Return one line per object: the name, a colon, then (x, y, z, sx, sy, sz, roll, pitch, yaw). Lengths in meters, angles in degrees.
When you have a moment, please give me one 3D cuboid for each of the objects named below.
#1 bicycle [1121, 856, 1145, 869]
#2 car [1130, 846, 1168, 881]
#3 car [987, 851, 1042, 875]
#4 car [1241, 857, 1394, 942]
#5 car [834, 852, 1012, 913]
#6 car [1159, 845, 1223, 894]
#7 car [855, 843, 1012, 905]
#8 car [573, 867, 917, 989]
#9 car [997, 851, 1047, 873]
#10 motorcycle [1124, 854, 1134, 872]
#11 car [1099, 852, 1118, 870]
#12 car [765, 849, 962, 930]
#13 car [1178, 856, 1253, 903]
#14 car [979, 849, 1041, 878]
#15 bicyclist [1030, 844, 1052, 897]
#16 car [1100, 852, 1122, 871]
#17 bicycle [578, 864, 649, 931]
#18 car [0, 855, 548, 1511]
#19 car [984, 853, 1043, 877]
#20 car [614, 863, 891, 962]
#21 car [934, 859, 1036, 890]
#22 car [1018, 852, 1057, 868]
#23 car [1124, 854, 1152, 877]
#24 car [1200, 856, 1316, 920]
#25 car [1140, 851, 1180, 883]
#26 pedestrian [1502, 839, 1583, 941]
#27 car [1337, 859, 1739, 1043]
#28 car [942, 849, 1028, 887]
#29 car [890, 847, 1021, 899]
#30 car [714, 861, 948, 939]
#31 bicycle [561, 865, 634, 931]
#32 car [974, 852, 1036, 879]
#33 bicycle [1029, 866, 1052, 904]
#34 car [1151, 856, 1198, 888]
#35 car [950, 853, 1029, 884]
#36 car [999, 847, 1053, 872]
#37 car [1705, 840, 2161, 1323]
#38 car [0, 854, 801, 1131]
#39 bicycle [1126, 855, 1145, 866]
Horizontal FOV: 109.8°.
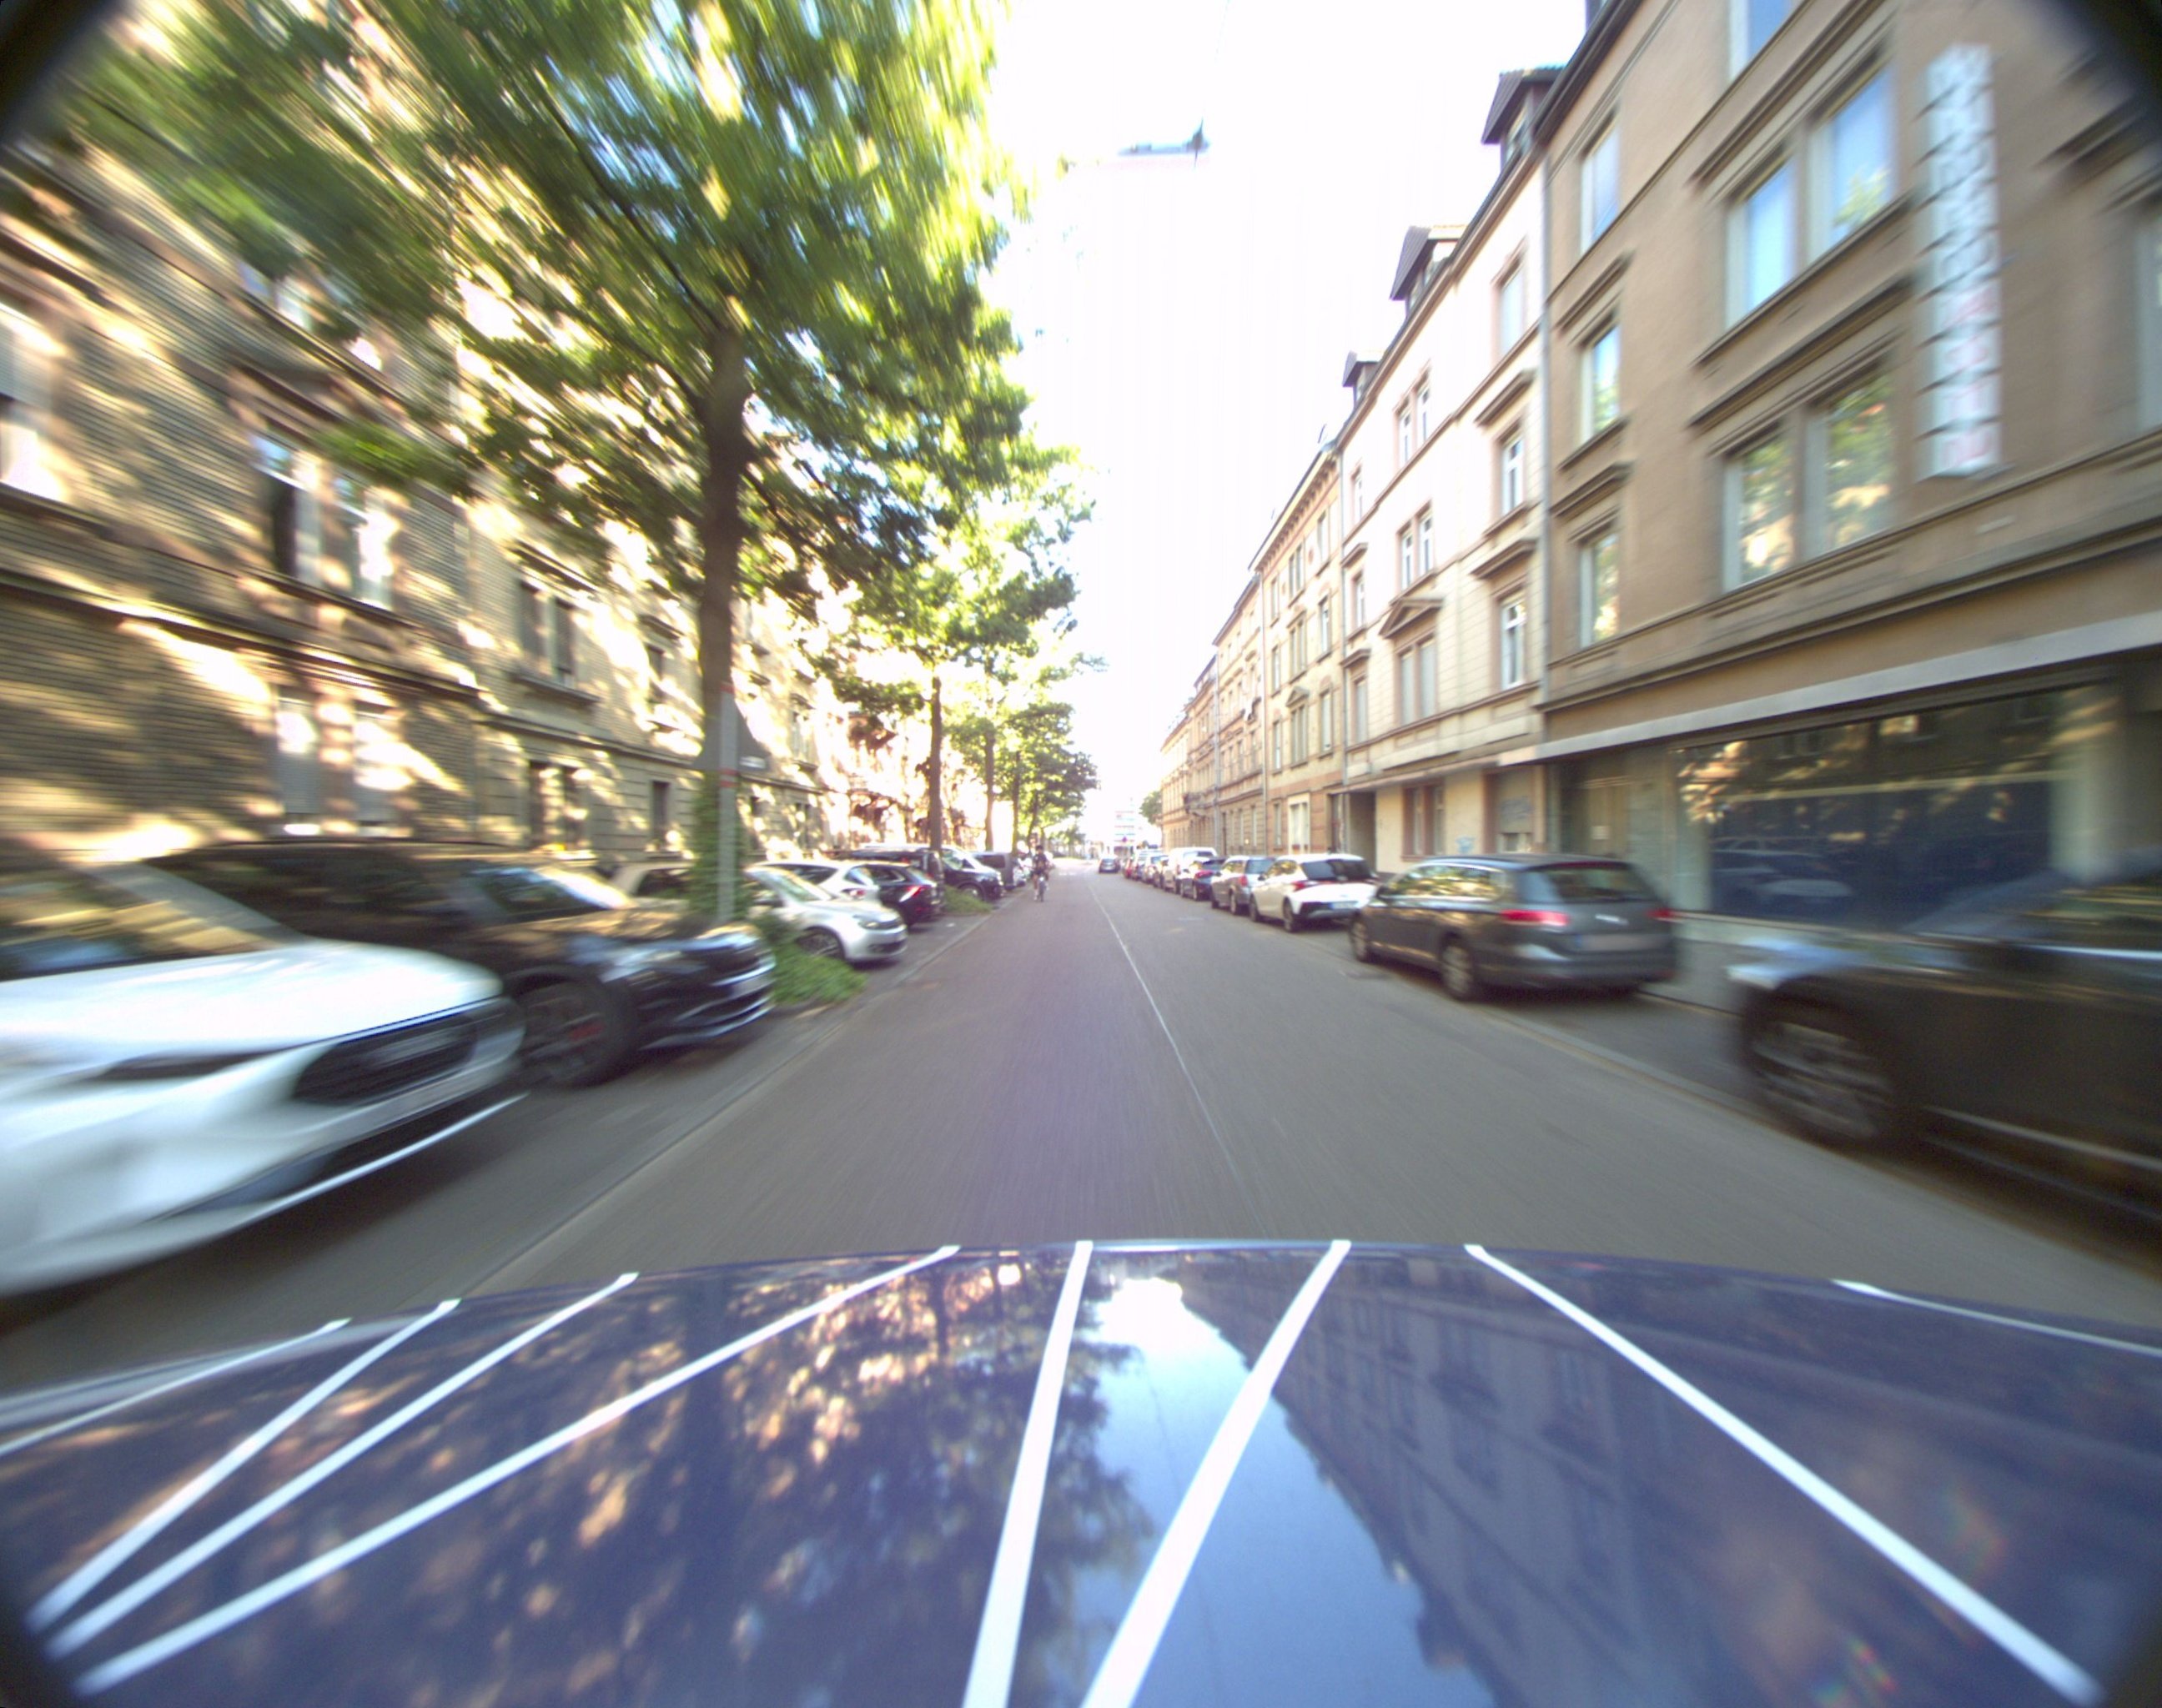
bicycle: (4.665, 0.787, 68.043, 2.043, 1.092, 0.587, -2, 1, 2)
car: (4.313, 0.558, 48.754, 1.947, 2.045, 4.744, -2, 0, 0)
car: (-5.262, 0.689, 60.482, 4.057, 1.612, 1.781, 4, 1, 1)
car: (4.643, 0.812, 15.572, 1.761, 1.464, 4.087, -1, 0, -1)
car: (-4.602, 0.812, 22.757, 4.934, 1.623, 2.077, 2, 0, -4)
car: (4.465, 0.598, 31.459, 1.847, 1.822, 4.606, -2, 0, -1)
car: (-4.872, 0.657, 25.771, 4.934, 1.890, 2.175, 2, 0, -4)
car: (-4.487, 0.964, 10.582, 3.997, 1.448, 1.687, -1, 0, 0)
car: (-5.041, 0.674, 65.146, 4.057, 1.612, 1.781, 4, 1, 1)
motorcycle: (4.119, 0.732, 65.331, 0.624, 1.482, 2.489, -2, 0, 0)
car: (2.641, 0.671, 73.769, 1.745, 1.630, 3.825, -2, 0, 1)
car: (-5.128, 0.811, 18.347, 4.135, 1.778, 1.945, -1, 0, 2)
car: (4.537, 0.809, 26.267, 1.751, 1.464, 4.243, -1, 0, -1)
car: (-4.909, 0.637, 53.185, 4.056, 1.875, 1.781, 2, 0, 2)
bicyclist: (-1.413, 0.566, 27.114, 0.712, 1.865, 1.120, 0, 1, 0)
car: (2.744, 0.683, 69.483, 1.868, 1.620, 3.825, -2, 0, 1)
bicycle: (-9.962, 0.896, 16.275, 0.369, 1.311, 1.883, -1, 0, -1)
car: (-4.949, 0.904, 2.826, 4.488, 1.647, 1.890, -1, 2, -2)
car: (-4.918, 0.783, 55.616, 4.056, 1.571, 1.781, 2, 0, 2)
car: (-5.487, 0.942, 13.095, 3.998, 1.486, 1.686, -1, 0, -3)
car: (-4.410, 0.941, 35.425, 4.469, 1.360, 1.903, 1, 0, 1)
car: (-4.677, 0.621, 82.836, 4.057, 1.521, 1.781, 4, 0, 0)
car: (4.035, 0.793, 54.283, 1.641, 1.482, 3.825, -2, 0, 0)
car: (4.537, 0.816, 20.230, 1.891, 1.436, 4.541, -1, 0, -2)
car: (4.366, 0.710, 42.583, 1.771, 1.648, 4.157, -2, 0, 0)
pedestrian: (7.649, 0.577, 12.642, 0.697, 1.622, 1.018, -1, 1, -2)
car: (4.579, 0.831, 8.594, 1.867, 1.464, 4.488, -1, 0, 1)
car: (-5.062, 0.726, 40.400, 4.242, 1.875, 1.782, -2, 0, 1)
car: (-4.856, 0.701, 29.399, 4.684, 1.879, 1.904, 0, 0, -22)
car: (-4.976, 0.902, 15.594, 4.156, 1.446, 1.936, 1, 0, -1)
bicycle: (-10.371, 0.901, 16.363, 0.369, 1.311, 1.883, -1, 0, -1)
car: (-5.023, 0.747, 50.735, 3.843, 1.673, 1.739, 2, 0, 2)
bicycle: (-1.424, 1.081, 27.072, 0.712, 1.252, 1.887, 0, 0, 0)
car: (4.392, 0.816, 36.170, 1.641, 1.413, 3.824, -2, 0, -2)
car: (-5.113, 0.801, 42.873, 4.243, 1.579, 1.738, 2, 0, -2)
car: (-5.063, 0.473, 70.458, 4.699, 1.966, 1.925, 4, 1, 0)
car: (4.578, 0.770, 2.270, 1.826, 1.591, 4.313, -3, 0, 0)
car: (-4.755, 0.899, 5.779, 4.487, 1.647, 1.891, -1, 2, 1)
bicycle: (6.103, 0.723, 85.447, 2.042, 1.092, 0.500, -2, 1, 9)
